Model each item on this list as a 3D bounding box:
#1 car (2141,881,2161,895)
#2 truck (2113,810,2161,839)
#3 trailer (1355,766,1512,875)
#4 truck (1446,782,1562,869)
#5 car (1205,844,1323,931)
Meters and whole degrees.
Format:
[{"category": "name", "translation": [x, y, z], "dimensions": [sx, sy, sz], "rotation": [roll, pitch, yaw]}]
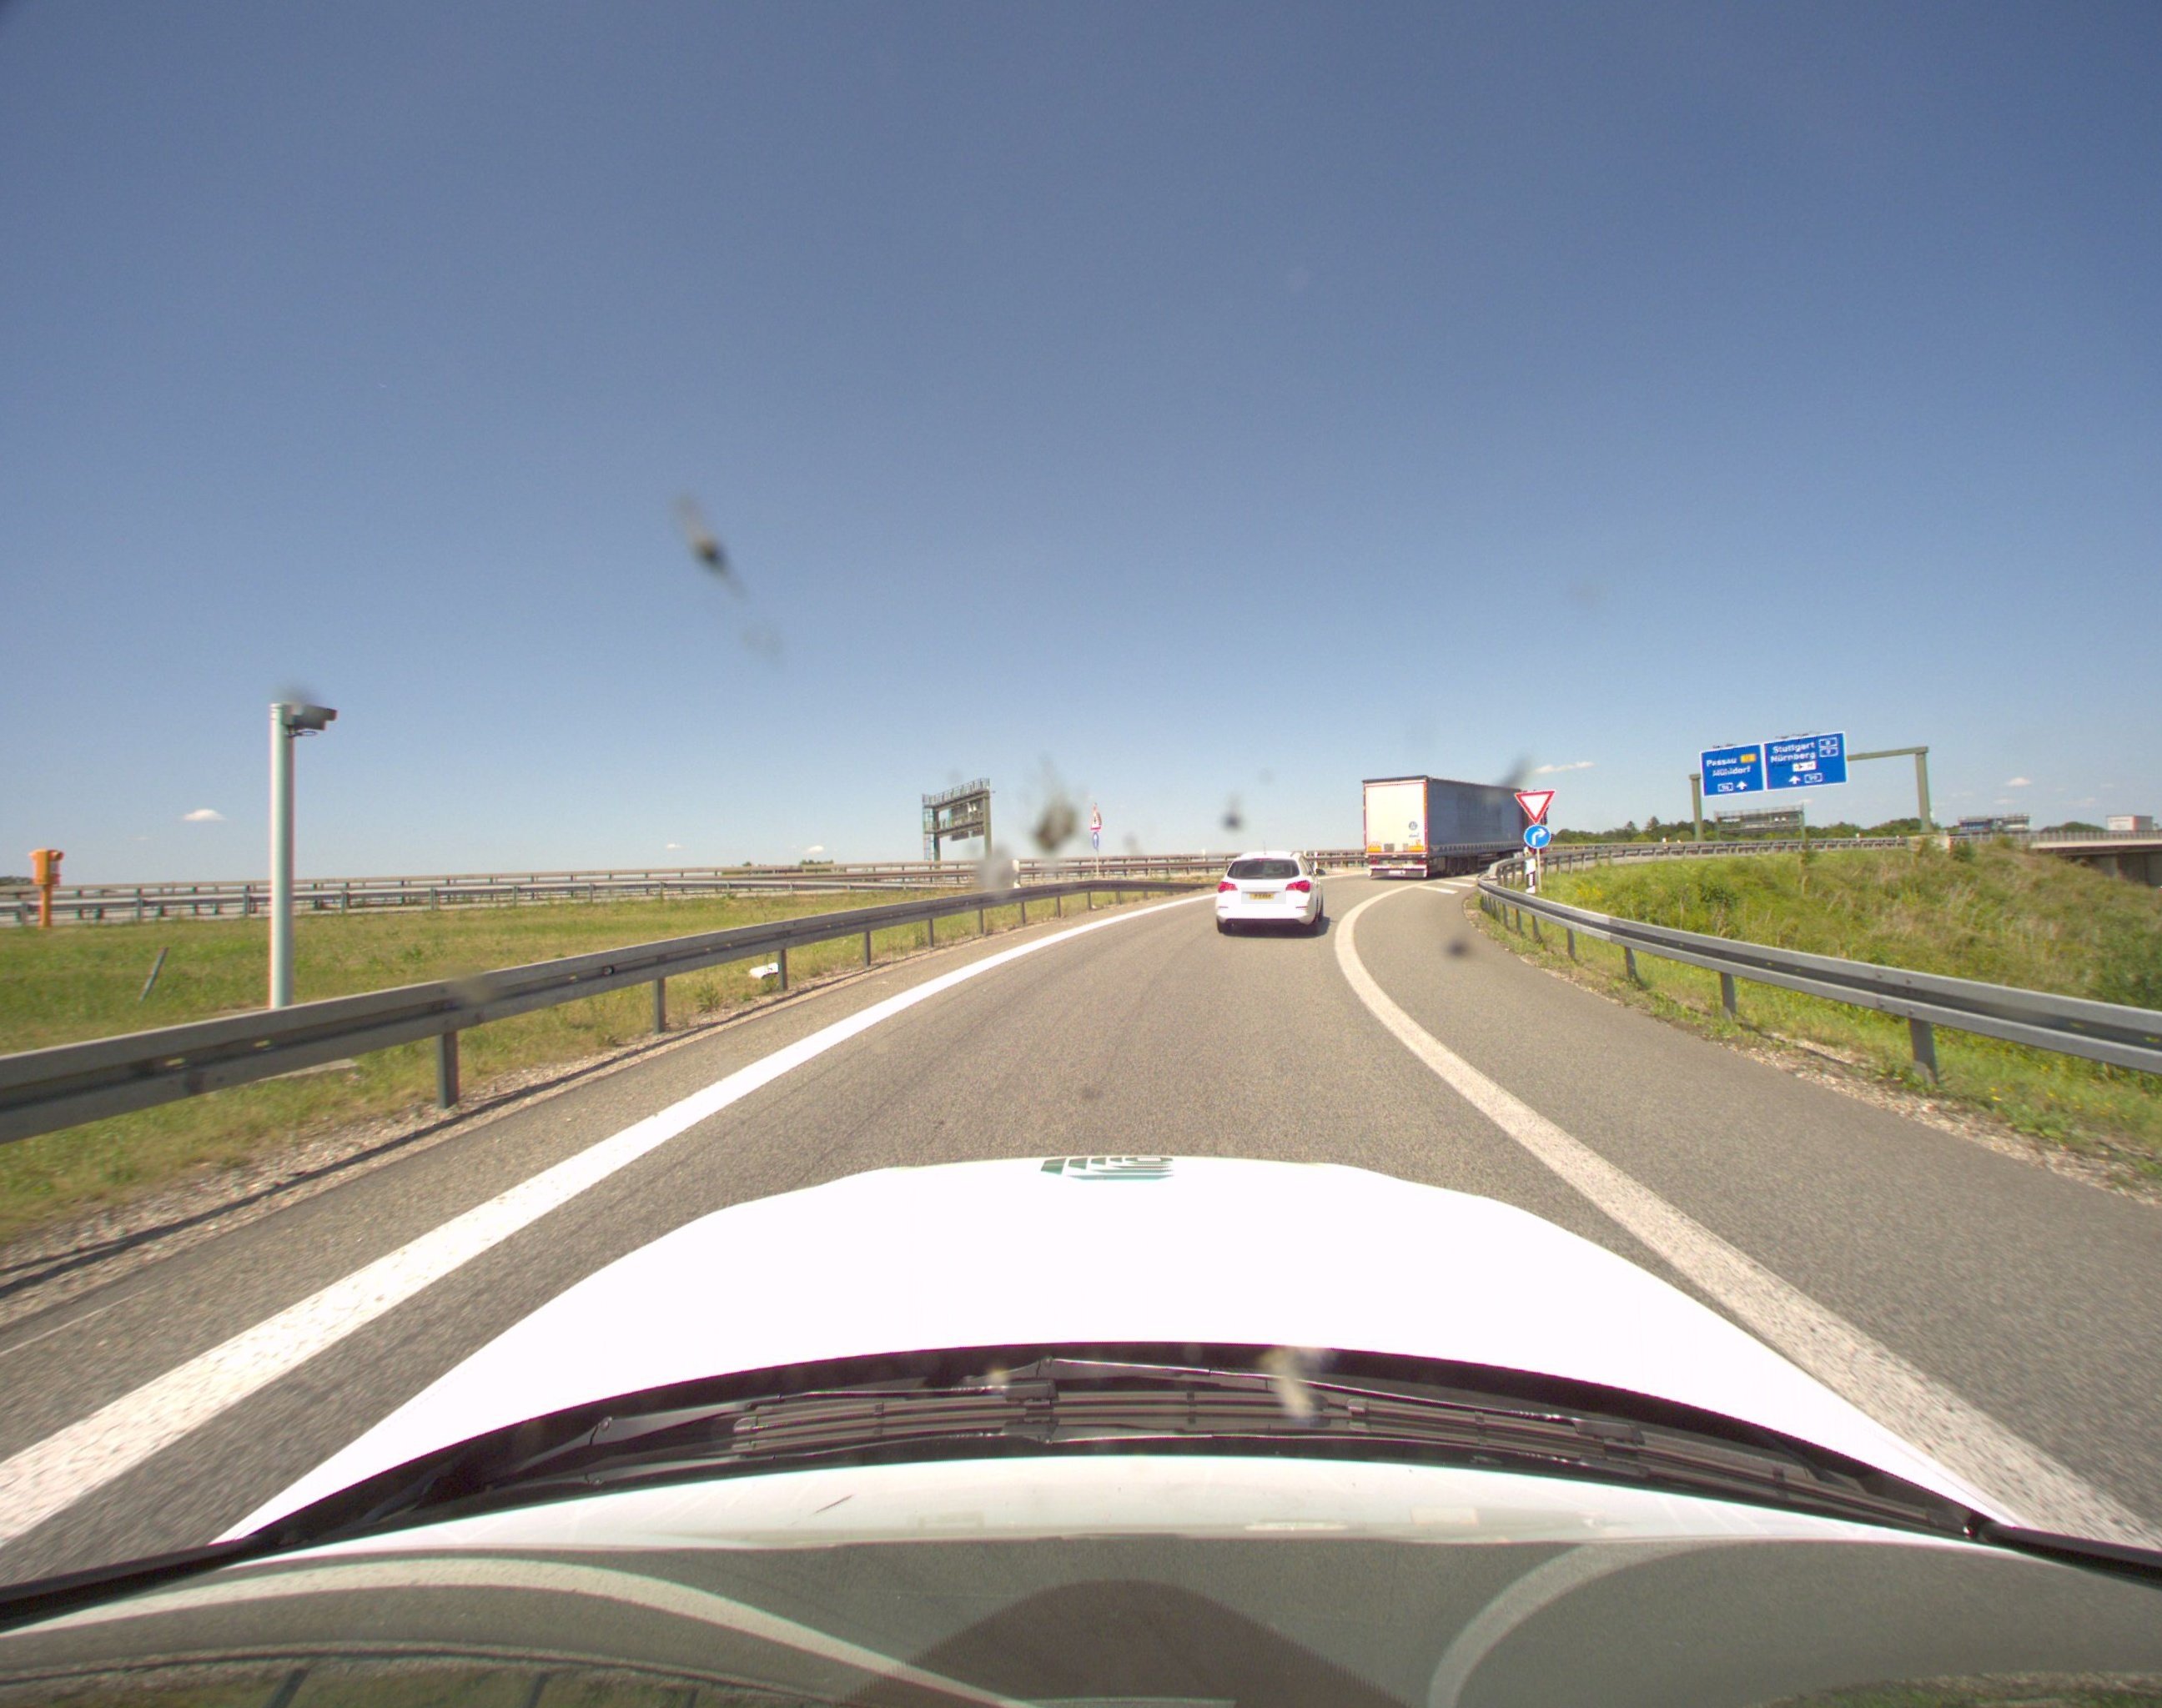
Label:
[{"category": "car", "translation": [135.010, 4.286, 101.138], "dimensions": [2.010, 1.618, 3.952], "rotation": [5, -4, -42]}, {"category": "truck", "translation": [159.945, -4.365, 122.838], "dimensions": [11.287, 4.145, 3.518], "rotation": [0, 1, -29]}, {"category": "trailer", "translation": [15.988, -1.230, 36.202], "dimensions": [2.885, 4.145, 11.326], "rotation": [-1, -1, 42]}, {"category": "truck", "translation": [21.995, -1.309, 42.185], "dimensions": [6.962, 4.145, 2.887], "rotation": [0, -1, -41]}, {"category": "car", "translation": [3.688, 0.590, 15.824], "dimensions": [1.839, 1.443, 4.391], "rotation": [-1, -1, 17]}]
